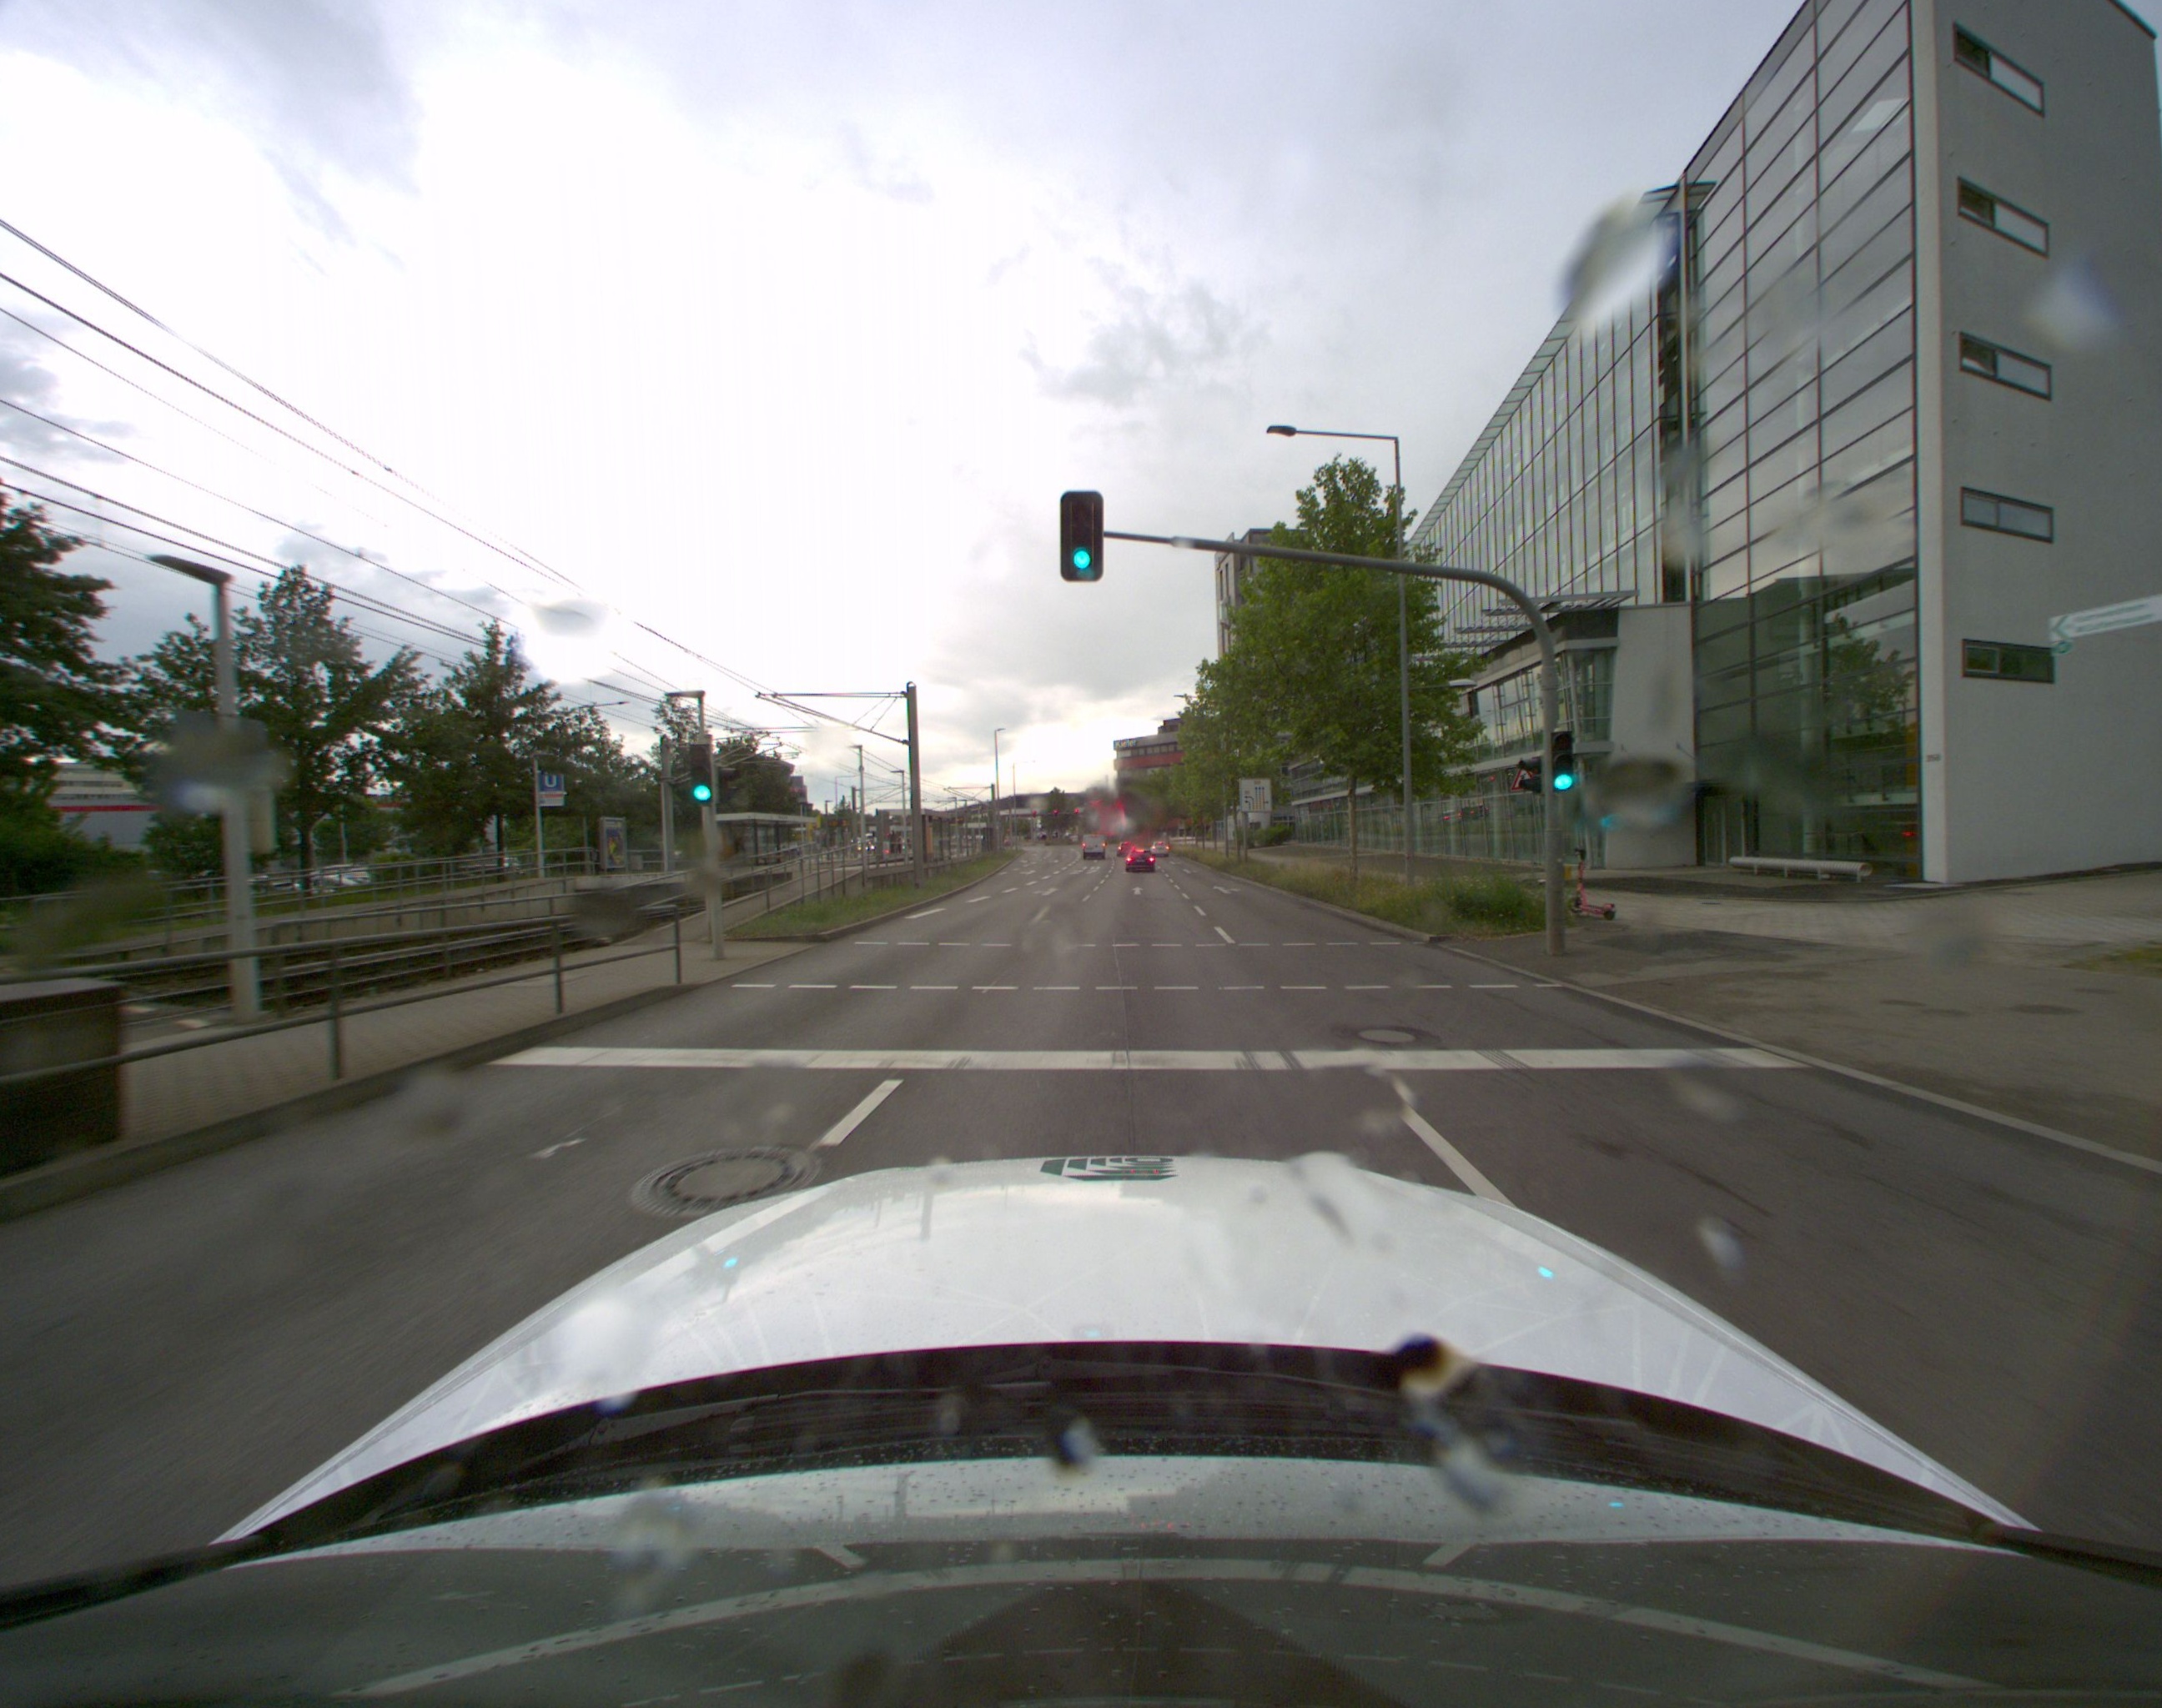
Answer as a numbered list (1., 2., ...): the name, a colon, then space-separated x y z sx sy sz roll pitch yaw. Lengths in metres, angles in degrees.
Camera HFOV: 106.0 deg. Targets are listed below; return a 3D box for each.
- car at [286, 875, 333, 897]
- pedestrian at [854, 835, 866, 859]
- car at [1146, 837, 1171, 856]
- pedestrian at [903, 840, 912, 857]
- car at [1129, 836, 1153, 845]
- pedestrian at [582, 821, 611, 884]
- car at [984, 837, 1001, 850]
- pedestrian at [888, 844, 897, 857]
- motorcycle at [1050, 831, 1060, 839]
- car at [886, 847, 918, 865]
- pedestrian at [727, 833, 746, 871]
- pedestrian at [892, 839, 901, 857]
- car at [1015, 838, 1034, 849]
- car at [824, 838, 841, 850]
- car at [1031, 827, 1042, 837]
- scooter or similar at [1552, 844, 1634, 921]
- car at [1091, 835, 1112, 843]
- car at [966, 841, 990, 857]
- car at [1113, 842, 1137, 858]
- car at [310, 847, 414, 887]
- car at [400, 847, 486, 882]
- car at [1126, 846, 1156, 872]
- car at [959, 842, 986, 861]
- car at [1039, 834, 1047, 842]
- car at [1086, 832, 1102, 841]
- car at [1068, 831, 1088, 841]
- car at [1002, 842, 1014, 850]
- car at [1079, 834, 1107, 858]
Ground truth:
1. car: -73.486 3.087 77.572 3.949 2.014 2.012 -2 -3 28
2. pedestrian: -18.997 -0.570 70.062 0.855 2.014 1.037 0 -2 -11
3. car: 7.636 -0.782 80.486 2.015 1.769 3.999 -1 1 -1
4. pedestrian: -18.233 -0.624 85.716 0.750 1.751 0.763 -1 -2 -1
5. car: 11.121 -2.426 151.010 2.039 1.623 4.273 -1 0 -42
6. pedestrian: -15.214 -0.025 25.587 0.548 1.953 0.662 -1 -2 -5
7. car: -12.485 -1.510 115.201 1.988 1.809 3.845 2 0 -1
8. pedestrian: -18.790 -0.315 81.055 0.725 1.253 0.731 -1 -1 -3
9. motorcycle: -7.378 -5.532 231.777 1.995 2.014 3.983 0 -2 -12
10. car: -14.284 0.120 65.245 1.854 1.336 3.333 -1 2 -1
11. pedestrian: -17.222 -0.087 40.698 0.635 1.854 0.750 -1 -2 -2
12. pedestrian: -18.044 -0.547 79.693 0.727 1.715 0.831 -1 -1 0
13. car: -11.912 -2.171 172.179 2.011 2.014 3.951 1 -3 -42
14. car: -46.270 -1.817 151.672 2.007 2.014 3.958 1 -3 -33
15. car: -10.480 -5.181 192.101 1.995 2.014 3.983 -1 -2 -12
16. scooter or similar: 8.984 0.475 14.345 0.457 1.263 1.335 -4 0 -4
17. car: 3.914 -2.887 156.459 2.039 1.623 3.952 -1 0 -42
18. car: -10.283 -0.489 81.514 1.988 1.453 3.845 -1 -1 -1
19. car: 4.401 -0.410 82.460 2.016 1.623 3.996 -1 0 -3
20. car: -39.107 0.650 44.438 1.986 2.013 4.002 -1 1 1
21. car: -38.883 0.629 49.762 1.986 2.013 4.001 -1 0 1
22. car: 3.750 0.268 50.714 1.756 1.463 4.634 -1 1 5
23. car: -9.922 -0.260 74.456 1.988 1.452 3.847 -1 4 -1
24. car: -9.711 -4.063 209.069 1.816 2.014 3.462 -1 -2 -6
25. car: 3.044 -4.012 187.213 2.004 2.014 3.965 0 -2 -26
26. car: -0.639 -3.641 164.145 2.011 2.014 3.952 1 0 -42
27. car: -14.433 -1.572 160.657 2.021 1.623 3.986 -1 0 -10
28. car: 1.145 -0.768 76.182 2.503 2.177 5.150 -1 1 0
